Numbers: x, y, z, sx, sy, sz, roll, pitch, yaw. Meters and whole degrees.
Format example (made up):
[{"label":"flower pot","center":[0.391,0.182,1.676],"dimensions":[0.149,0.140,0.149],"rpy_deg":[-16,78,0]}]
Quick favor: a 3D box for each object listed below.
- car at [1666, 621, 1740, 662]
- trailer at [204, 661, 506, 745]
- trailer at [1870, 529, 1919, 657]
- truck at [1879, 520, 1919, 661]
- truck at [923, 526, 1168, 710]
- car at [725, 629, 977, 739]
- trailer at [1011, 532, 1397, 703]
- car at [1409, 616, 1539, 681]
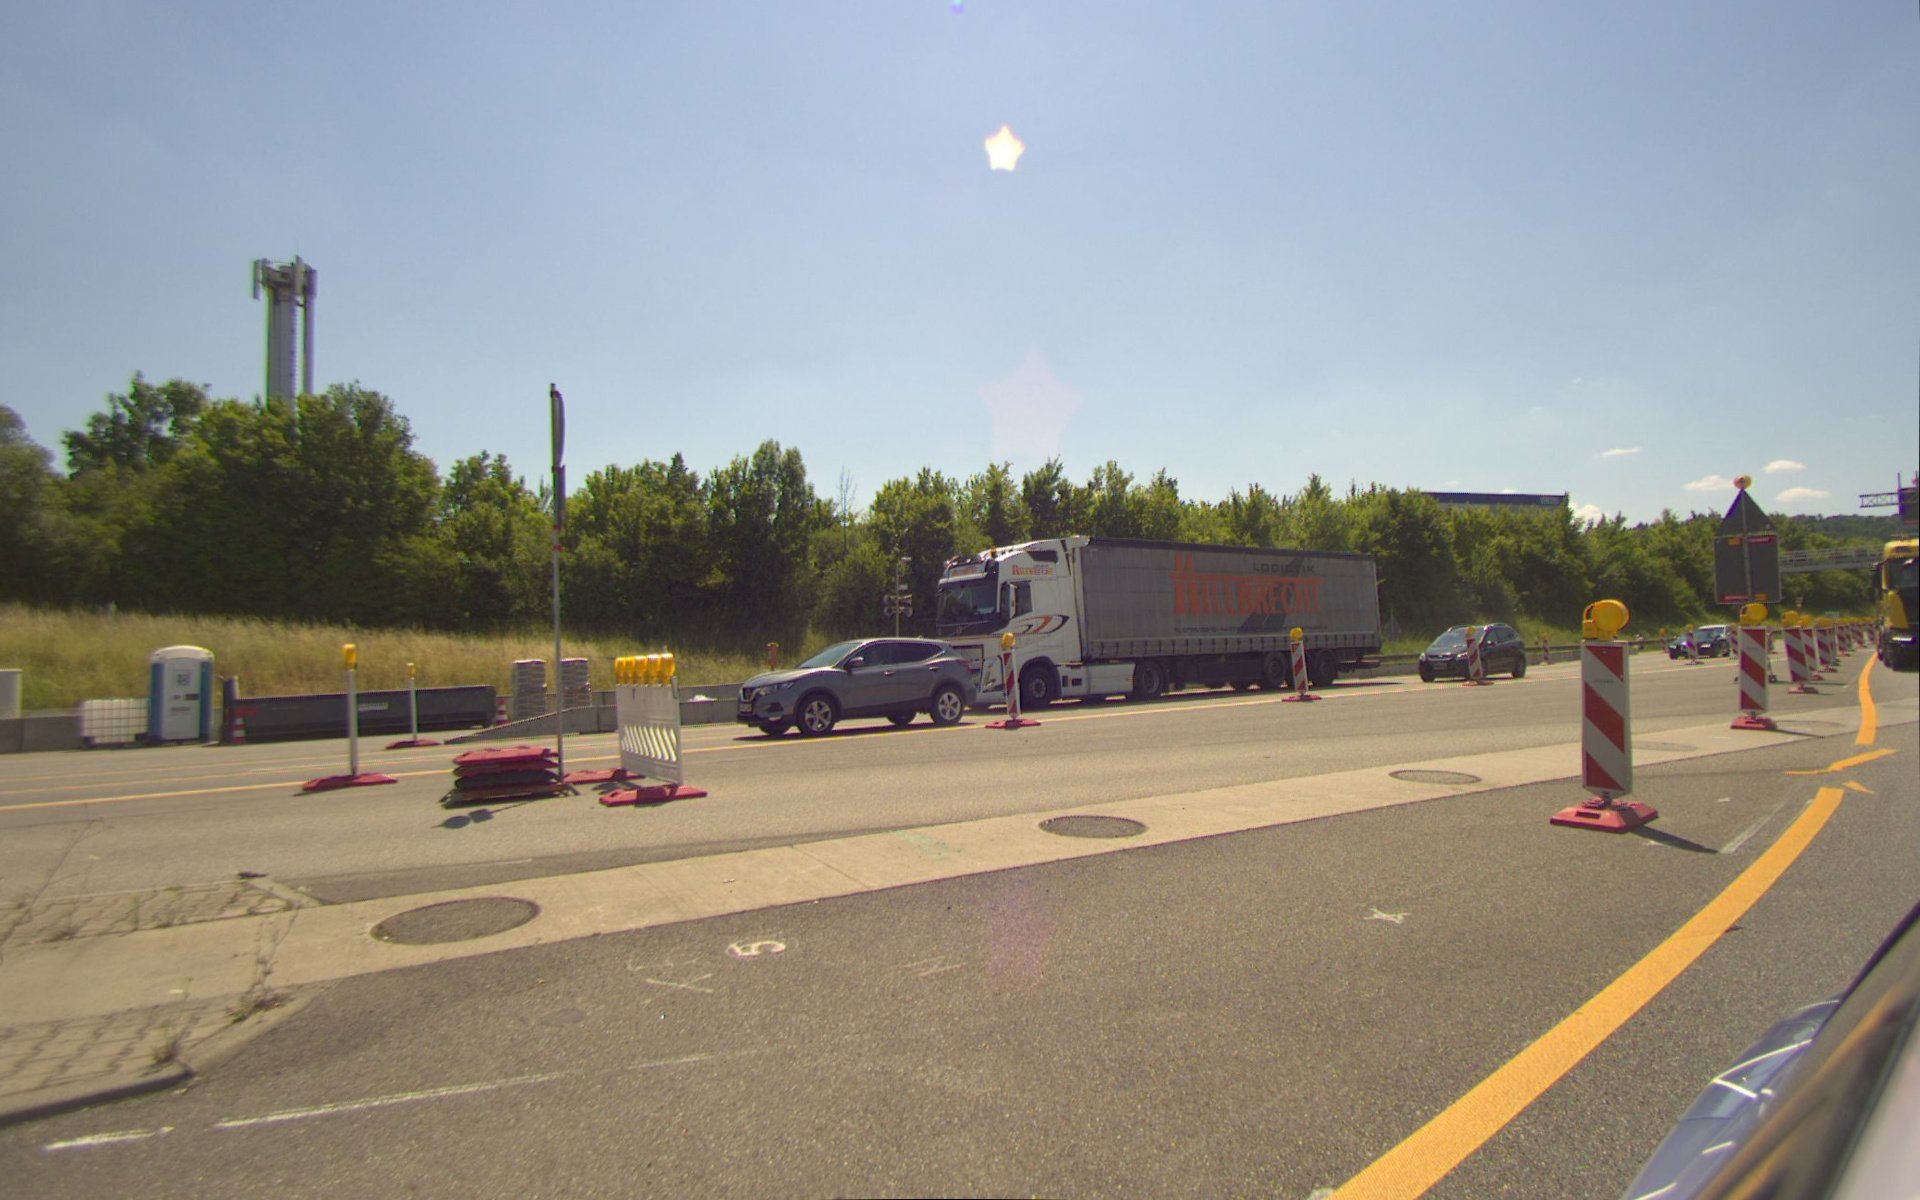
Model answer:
[{"label":"car","center":[35.615,1.953,48.489],"dimensions":[4.415,1.718,1.817],"rpy_deg":[0,-5,-41]},{"label":"trailer","center":[-14.939,2.436,25.251],"dimensions":[6.126,1.589,2.598],"rpy_deg":[0,-2,-41]},{"label":"trailer","center":[34.418,-0.094,35.434],"dimensions":[3.224,3.716,17.158],"rpy_deg":[-6,-5,41]},{"label":"truck","center":[28.580,-0.270,28.744],"dimensions":[3.217,3.710,6.975],"rpy_deg":[-6,-5,41]},{"label":"truck","center":[2.149,0.489,24.746],"dimensions":[5.496,4.003,2.532],"rpy_deg":[0,-5,-38]},{"label":"car","center":[-1.839,1.400,17.526],"dimensions":[3.955,1.573,1.710],"rpy_deg":[-1,-4,-36]},{"label":"trailer","center":[7.555,0.492,28.958],"dimensions":[13.614,4.005,2.545],"rpy_deg":[0,-5,-38]},{"label":"car","center":[15.718,1.450,30.854],"dimensions":[4.413,1.718,1.817],"rpy_deg":[0,-5,-40]}]
